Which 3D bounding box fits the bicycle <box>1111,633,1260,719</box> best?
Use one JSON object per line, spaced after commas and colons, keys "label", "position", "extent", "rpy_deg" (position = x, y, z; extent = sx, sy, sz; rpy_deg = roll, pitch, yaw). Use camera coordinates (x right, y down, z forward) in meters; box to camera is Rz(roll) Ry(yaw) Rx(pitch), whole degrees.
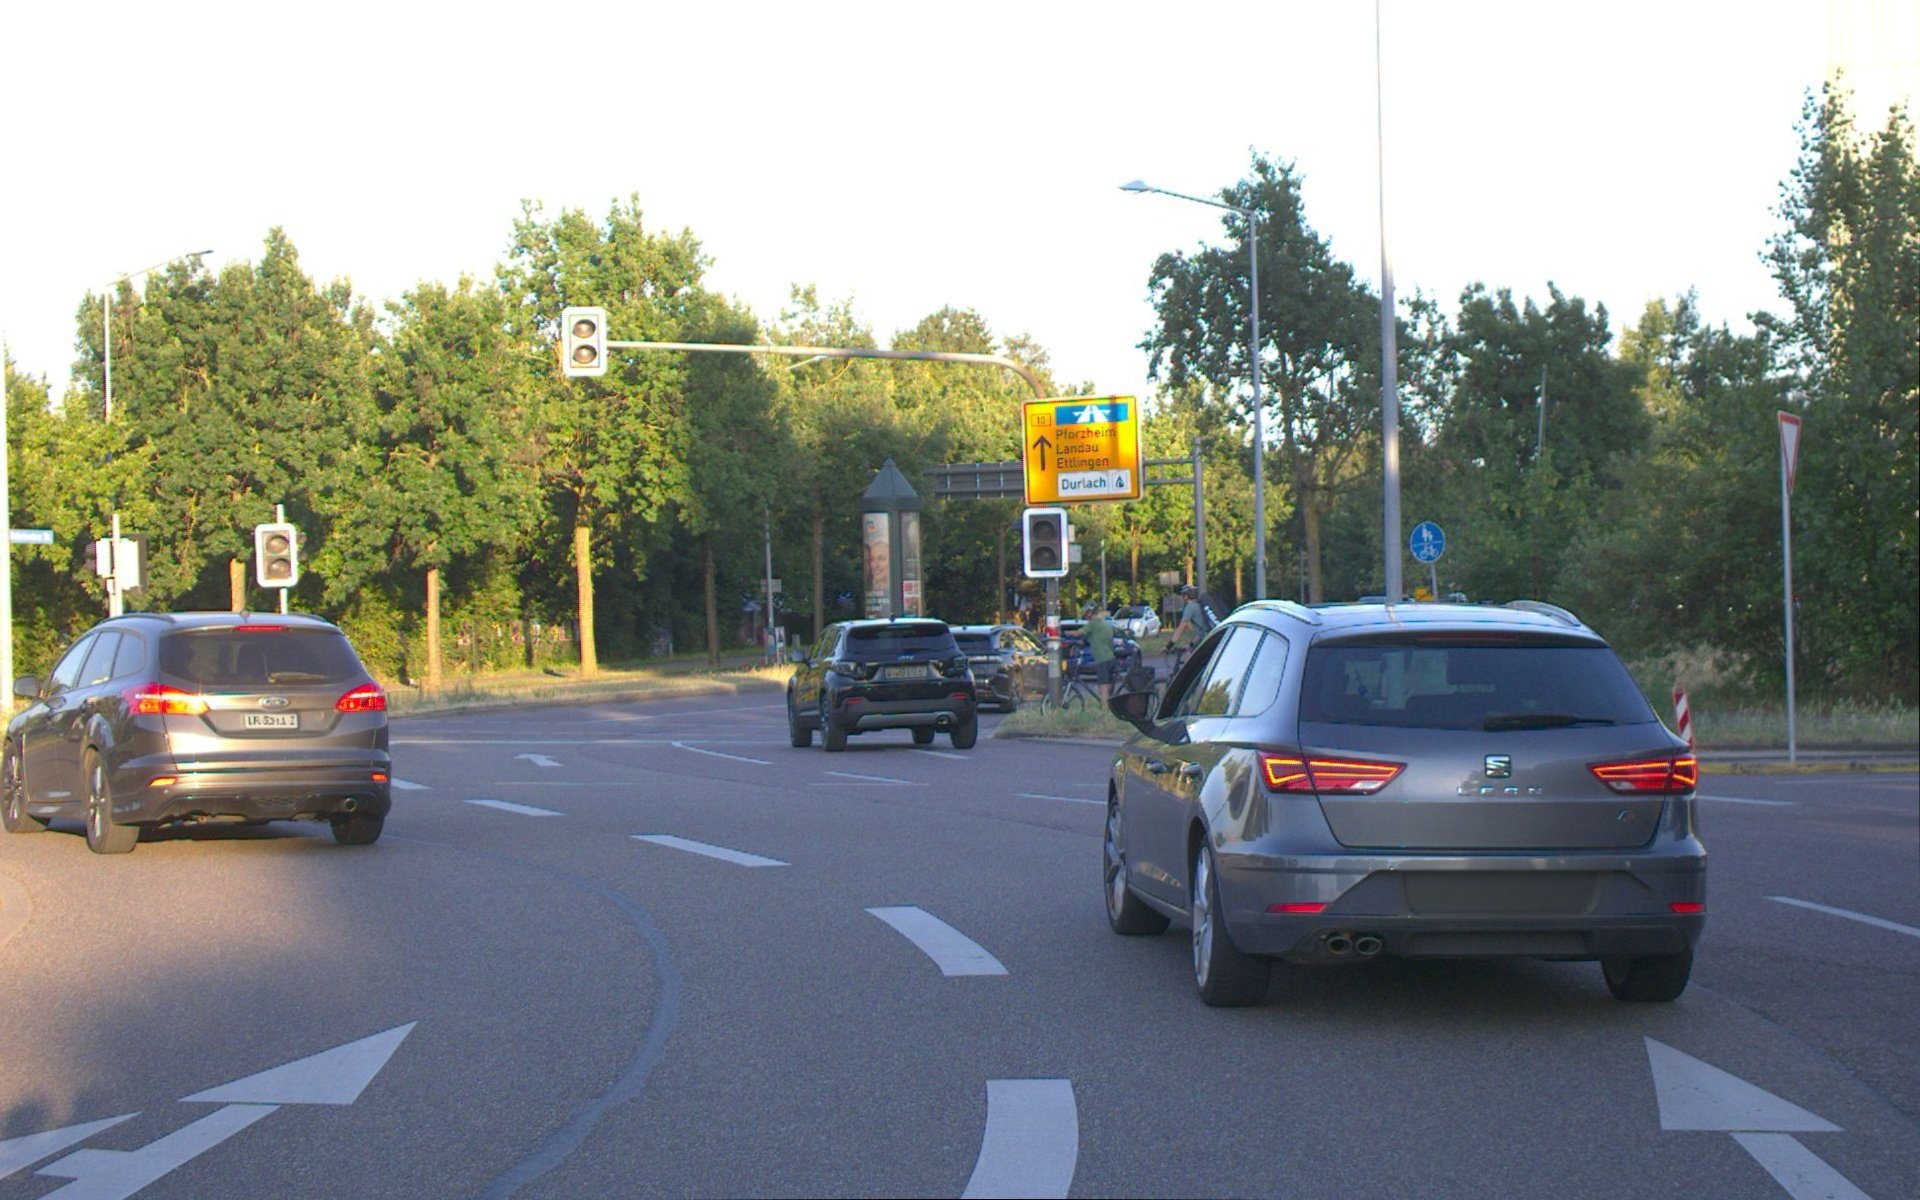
{"label": "bicycle", "position": [3.074, 1.033, 46.790], "extent": [1.923, 1.081, 0.456], "rpy_deg": [-3, -1, 16]}

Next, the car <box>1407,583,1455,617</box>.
{"label": "car", "position": [26.390, 0.015, 192.597], "extent": [1.918, 1.749, 4.917], "rpy_deg": [-2, -1, 16]}

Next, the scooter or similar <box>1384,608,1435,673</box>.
{"label": "scooter or similar", "position": [6.416, 0.578, 49.109], "extent": [0.246, 0.911, 1.039], "rpy_deg": [-1, 0, -20]}

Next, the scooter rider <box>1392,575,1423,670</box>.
{"label": "scooter rider", "position": [6.384, 0.320, 49.085], "extent": [0.264, 1.334, 0.406], "rpy_deg": [-1, 0, -20]}

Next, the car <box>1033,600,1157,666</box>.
{"label": "car", "position": [3.193, 0.766, 80.673], "extent": [1.995, 1.466, 3.997], "rpy_deg": [-1, 0, 16]}

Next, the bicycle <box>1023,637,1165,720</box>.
{"label": "bicycle", "position": [1.923, 1.129, 49.428], "extent": [1.923, 1.081, 0.456], "rpy_deg": [-4, -1, 16]}

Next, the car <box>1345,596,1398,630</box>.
{"label": "car", "position": [20.959, 0.669, 174.962], "extent": [1.799, 1.627, 4.452], "rpy_deg": [-2, -1, 18]}

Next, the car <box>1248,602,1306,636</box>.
{"label": "car", "position": [14.253, 0.832, 154.364], "extent": [1.723, 1.444, 4.546], "rpy_deg": [-1, 0, 16]}

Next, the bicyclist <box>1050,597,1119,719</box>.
{"label": "bicyclist", "position": [1.801, 0.834, 49.510], "extent": [0.768, 1.696, 0.641], "rpy_deg": [-4, -1, 15]}

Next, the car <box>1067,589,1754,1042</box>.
{"label": "car", "position": [1.530, 0.687, 13.187], "extent": [1.745, 1.419, 4.135], "rpy_deg": [-1, 0, -5]}

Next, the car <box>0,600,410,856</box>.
{"label": "car", "position": [-4.995, 0.746, 22.274], "extent": [1.745, 1.461, 4.135], "rpy_deg": [-1, 0, -25]}

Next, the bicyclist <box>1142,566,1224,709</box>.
{"label": "bicyclist", "position": [3.033, 0.502, 46.780], "extent": [0.907, 1.891, 0.641], "rpy_deg": [-3, -1, 15]}

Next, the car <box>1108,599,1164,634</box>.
{"label": "car", "position": [7.477, 0.705, 145.575], "extent": [1.550, 1.438, 3.484], "rpy_deg": [-2, -1, 16]}

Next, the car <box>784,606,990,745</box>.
{"label": "car", "position": [-0.928, 0.853, 40.974], "extent": [1.812, 1.520, 4.136], "rpy_deg": [-1, 0, -10]}
